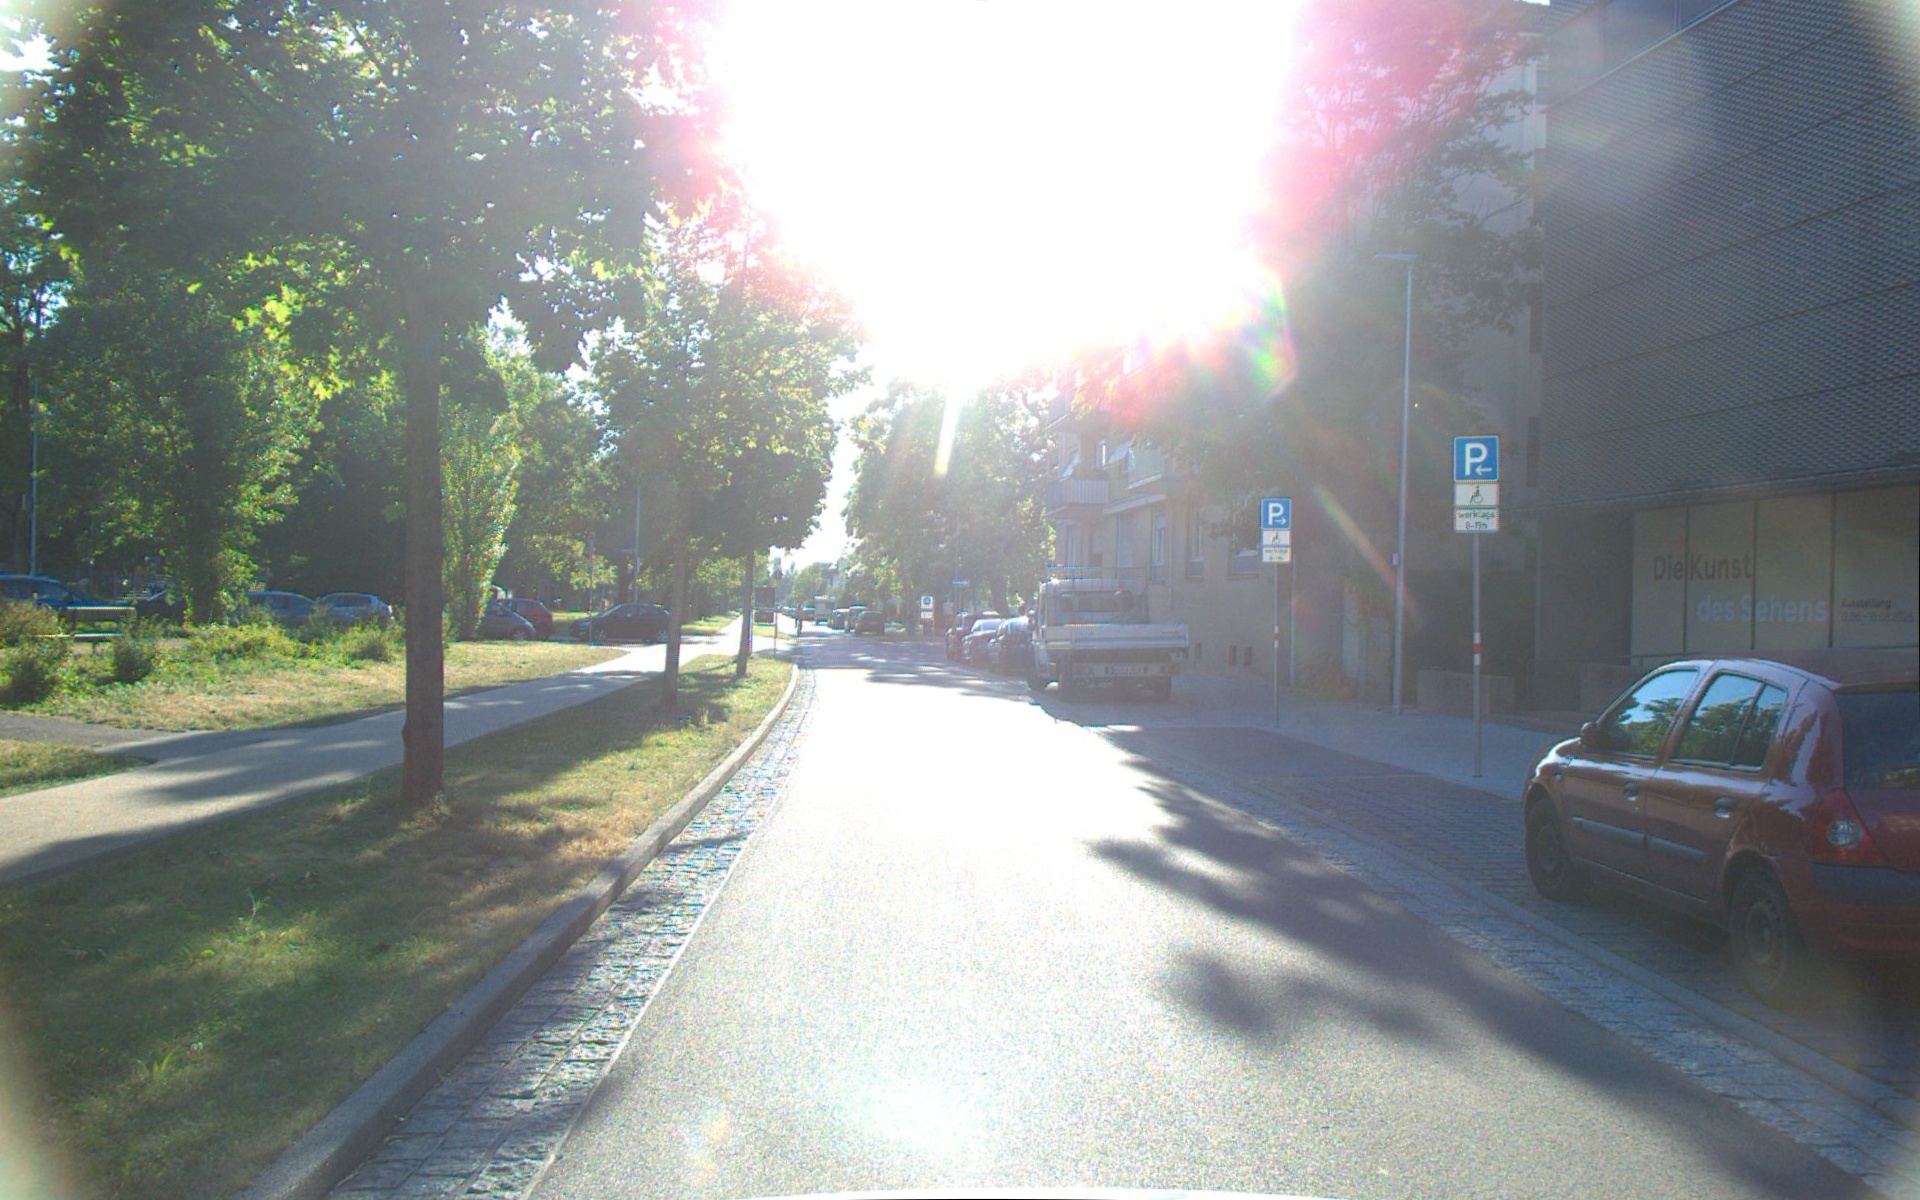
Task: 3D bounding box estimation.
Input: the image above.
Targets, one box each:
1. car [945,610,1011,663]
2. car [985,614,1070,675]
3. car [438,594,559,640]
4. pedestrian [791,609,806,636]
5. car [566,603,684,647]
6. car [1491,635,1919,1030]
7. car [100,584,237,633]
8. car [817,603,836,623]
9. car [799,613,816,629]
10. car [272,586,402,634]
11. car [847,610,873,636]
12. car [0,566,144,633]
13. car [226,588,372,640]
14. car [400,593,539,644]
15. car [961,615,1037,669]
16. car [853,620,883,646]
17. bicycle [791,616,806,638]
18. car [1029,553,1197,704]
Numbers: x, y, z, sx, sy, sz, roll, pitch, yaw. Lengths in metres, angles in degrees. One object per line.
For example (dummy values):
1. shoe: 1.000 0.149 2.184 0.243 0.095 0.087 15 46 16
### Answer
1. car: 0.554 1.167 53.783 1.658 1.593 4.098 2 -1 -6
2. car: 1.692 1.109 42.488 1.658 1.466 3.545 2 -1 -6
3. car: -16.662 0.619 59.758 3.869 1.445 1.755 3 -1 -29
4. pedestrian: -9.087 1.281 93.120 0.674 1.459 1.024 3 -1 -2
5. car: -12.511 0.923 61.807 3.948 1.445 1.752 3 -1 -32
6. car: 4.128 0.929 8.193 1.689 1.446 3.905 1 -1 -1
7. car: -25.949 0.285 54.253 3.943 1.445 1.754 2 -1 -30
8. car: -13.872 1.368 172.004 1.759 2.034 3.996 3 -1 -4
9. car: -19.656 2.685 213.279 1.955 2.004 3.995 3 -1 -5
10. car: -21.474 0.356 57.050 3.944 1.445 1.754 3 -1 -30
11. car: -7.292 1.672 120.126 1.759 1.755 3.996 3 -1 -4
12. car: -26.087 -0.021 47.708 4.474 1.715 1.757 3 -1 -26
13. car: -20.345 0.432 50.920 3.944 1.445 1.754 2 -1 -30
14. car: -15.817 0.606 53.389 3.947 1.445 1.753 3 -1 -31
15. car: 1.078 1.185 47.908 1.658 1.466 4.098 2 -1 -6
16. car: -5.862 2.107 106.025 1.758 1.536 3.998 3 -1 -2
17. bicycle: -9.092 1.522 93.147 0.674 1.223 2.342 3 -1 -2
18. car: 2.751 0.524 31.376 2.168 2.574 6.141 0 -1 -4
